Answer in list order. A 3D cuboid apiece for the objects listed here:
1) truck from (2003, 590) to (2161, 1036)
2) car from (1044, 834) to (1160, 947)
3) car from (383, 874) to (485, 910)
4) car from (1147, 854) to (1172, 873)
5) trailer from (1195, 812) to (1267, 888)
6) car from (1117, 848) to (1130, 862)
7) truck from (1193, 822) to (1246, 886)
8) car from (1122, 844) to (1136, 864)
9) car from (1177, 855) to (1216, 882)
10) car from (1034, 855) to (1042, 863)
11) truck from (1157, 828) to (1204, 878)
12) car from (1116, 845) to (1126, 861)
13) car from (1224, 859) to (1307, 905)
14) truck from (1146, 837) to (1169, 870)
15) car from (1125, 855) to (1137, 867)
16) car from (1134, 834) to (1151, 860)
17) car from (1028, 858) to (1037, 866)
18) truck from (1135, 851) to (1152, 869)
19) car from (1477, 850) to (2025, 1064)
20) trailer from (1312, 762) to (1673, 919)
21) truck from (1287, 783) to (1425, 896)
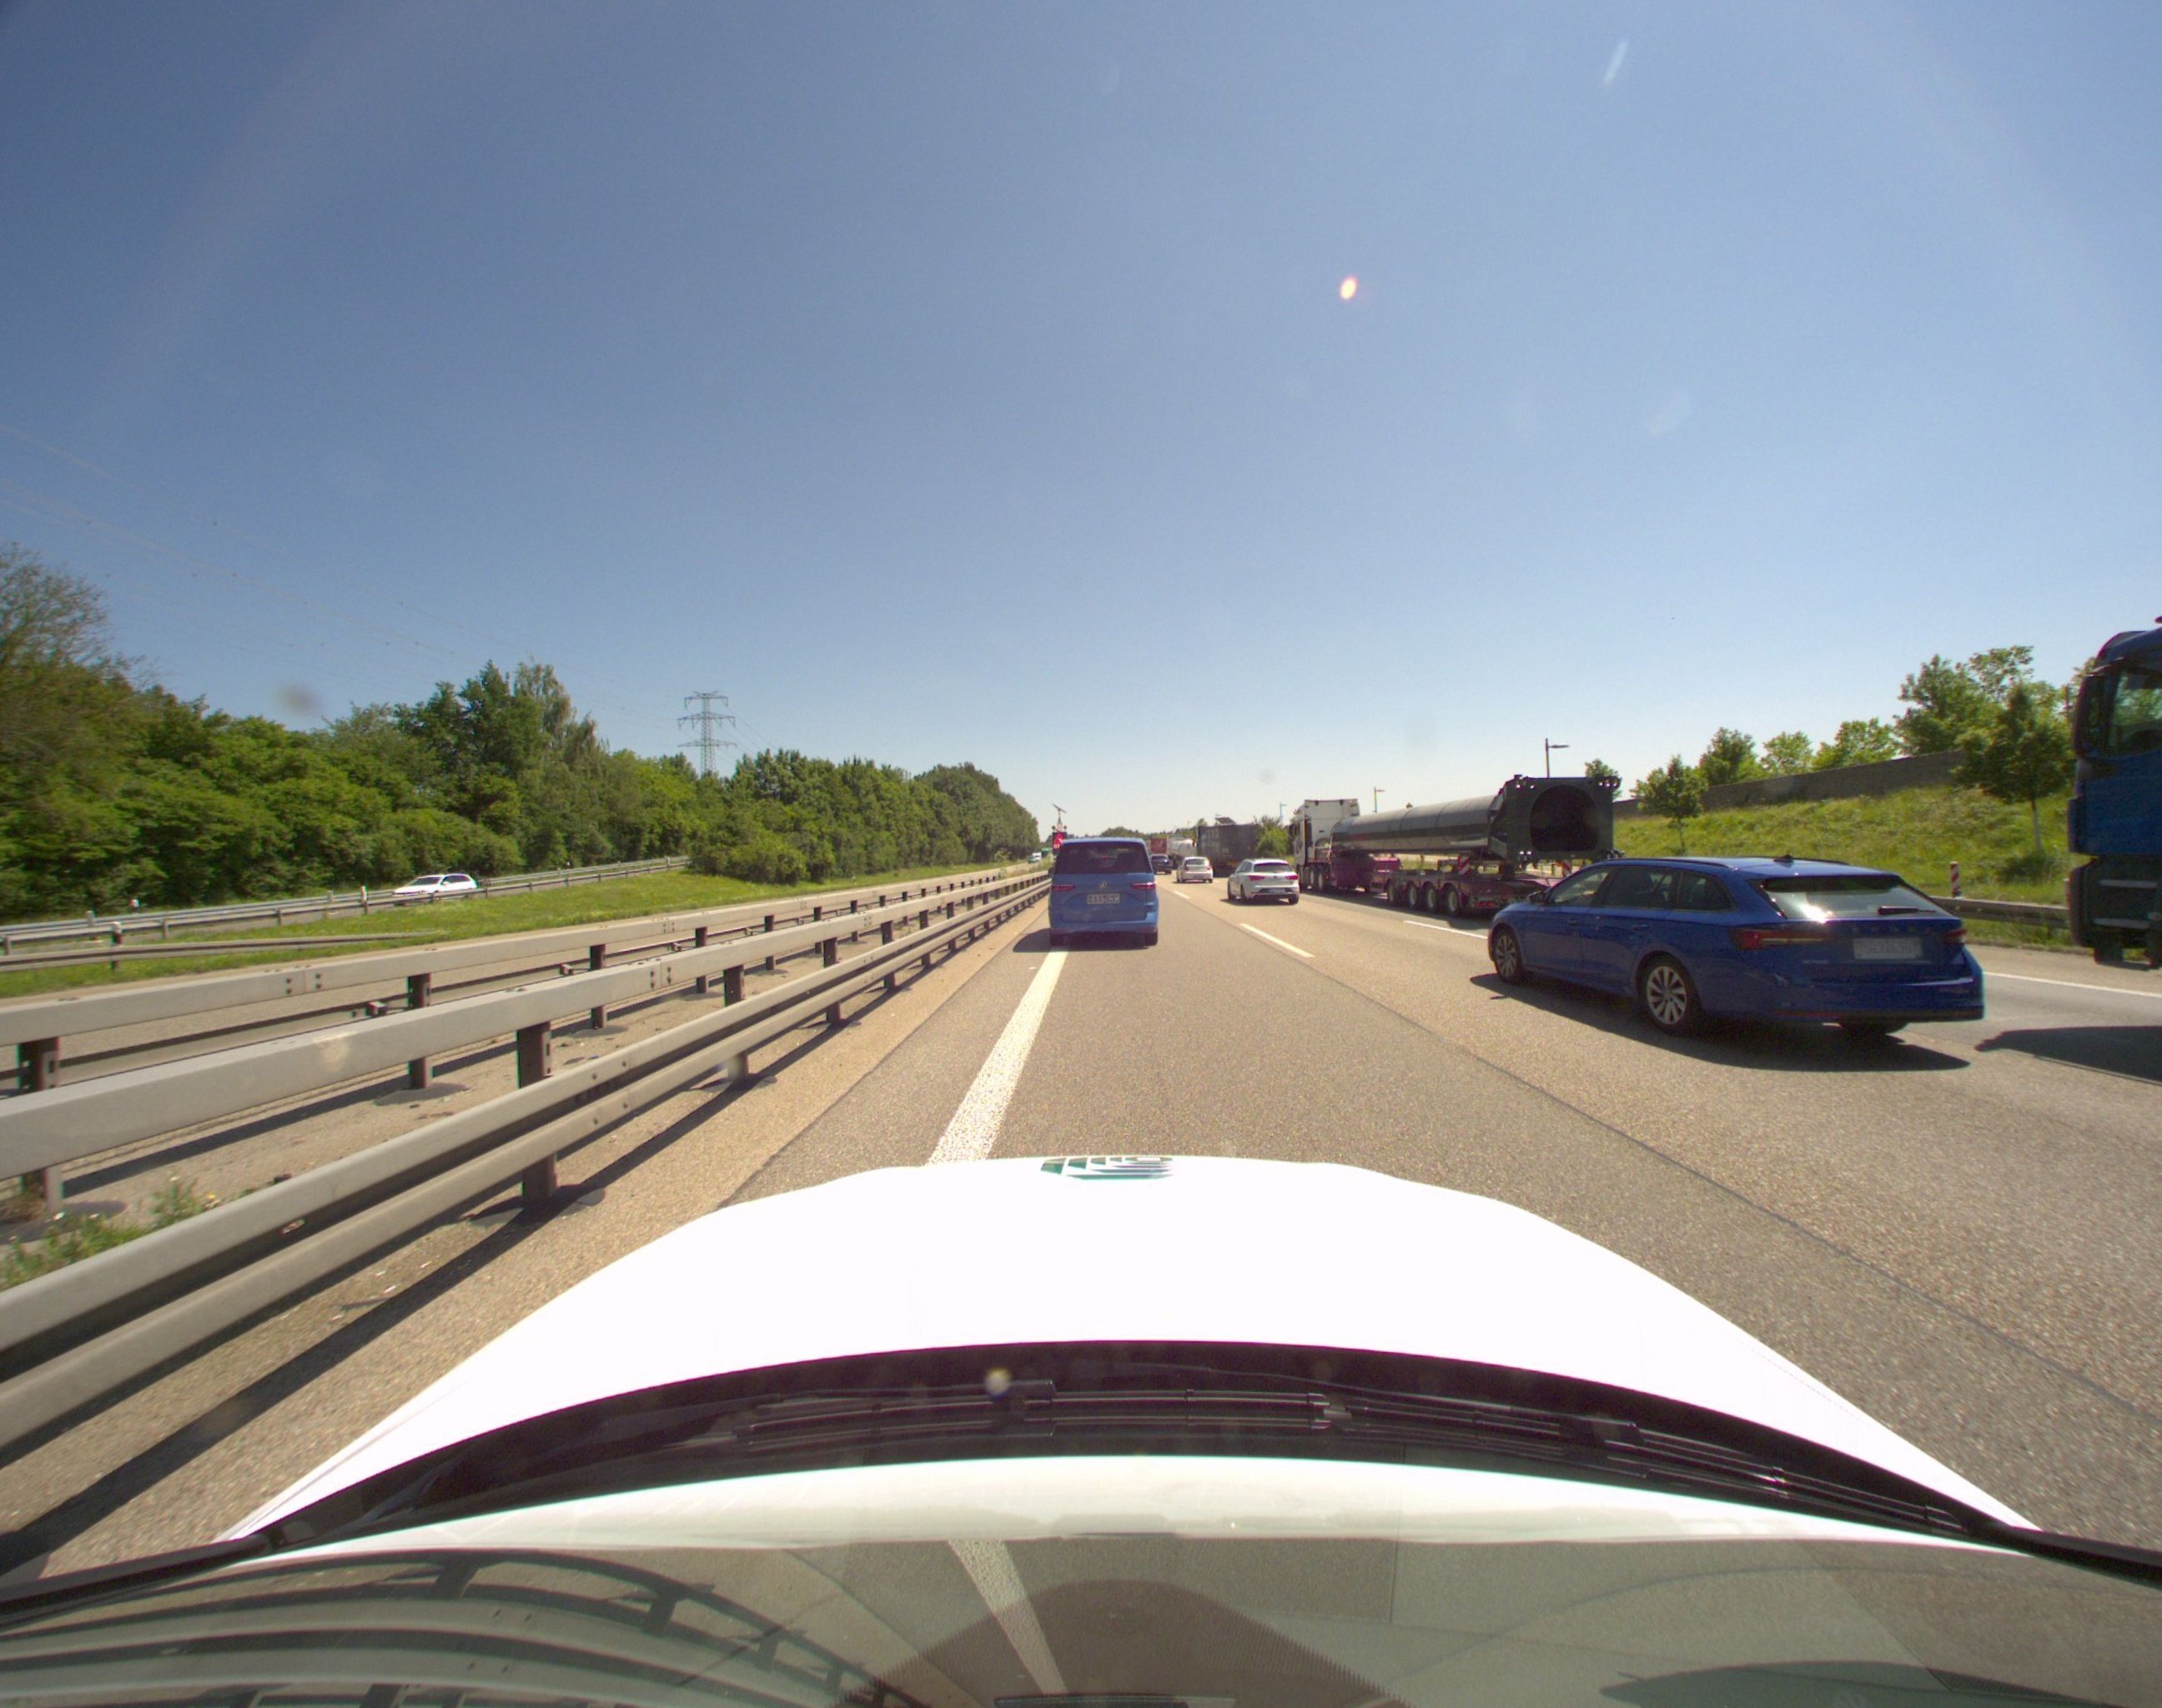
[{"bbox_3d":[9.300,-0.299,3.519,2.733,3.311,7.136,0,0,2],"label":"truck"},{"bbox_3d":[0.451,0.642,15.347,1.893,1.838,4.003,0,-1,3],"label":"car"},{"bbox_3d":[-32.420,1.852,41.001,1.632,1.674,4.889,0,-1,-7],"label":"car"},{"bbox_3d":[6.527,0.821,67.868,1.774,1.524,4.001,0,-1,2],"label":"car"},{"bbox_3d":[11.155,-0.109,62.033,3.632,5.137,13.083,0,-1,3],"label":"trailer"},{"bbox_3d":[8.762,0.156,167.813,2.541,2.717,5.622,0,-1,2],"label":"car"},{"bbox_3d":[11.521,0.055,68.320,3.644,5.180,5.712,0,-1,3],"label":"truck"},{"bbox_3d":[13.088,-0.067,221.614,3.209,5.257,8.138,0,-1,-2],"label":"car"},{"bbox_3d":[6.603,0.845,46.895,1.833,1.454,4.003,0,-1,3],"label":"car"},{"bbox_3d":[-11.915,1.405,225.933,1.789,1.886,4.001,0,-1,2],"label":"car"},{"bbox_3d":[11.129,0.062,92.776,3.609,5.213,15.688,0,-1,1],"label":"truck"},{"bbox_3d":[12.316,-0.226,251.231,2.706,4.713,11.563,0,-1,2],"label":"car"},{"bbox_3d":[5.893,0.849,26.431,1.861,1.361,4.001,0,-1,1],"label":"car"},{"bbox_3d":[12.167,0.048,130.328,3.057,4.920,10.692,0,-1,2],"label":"truck"},{"bbox_3d":[8.529,1.296,140.042,1.986,2.014,4.001,0,-1,2],"label":"car"},{"bbox_3d":[12.841,-1.379,170.689,3.206,5.257,8.147,0,-1,2],"label":"car"},{"bbox_3d":[-12.369,2.019,207.948,1.789,1.886,4.001,0,-1,2],"label":"car"},{"bbox_3d":[6.746,0.648,88.089,1.719,1.857,4.001,0,-1,2],"label":"truck"},{"bbox_3d":[5.627,0.749,7.762,1.699,1.441,4.430,0,-1,2],"label":"car"},{"bbox_3d":[10.370,-0.093,24.021,3.630,3.079,15.786,0,-1,4],"label":"trailer"},{"bbox_3d":[11.013,-0.450,33.644,3.609,4.095,7.532,0,-1,4],"label":"truck"}]
